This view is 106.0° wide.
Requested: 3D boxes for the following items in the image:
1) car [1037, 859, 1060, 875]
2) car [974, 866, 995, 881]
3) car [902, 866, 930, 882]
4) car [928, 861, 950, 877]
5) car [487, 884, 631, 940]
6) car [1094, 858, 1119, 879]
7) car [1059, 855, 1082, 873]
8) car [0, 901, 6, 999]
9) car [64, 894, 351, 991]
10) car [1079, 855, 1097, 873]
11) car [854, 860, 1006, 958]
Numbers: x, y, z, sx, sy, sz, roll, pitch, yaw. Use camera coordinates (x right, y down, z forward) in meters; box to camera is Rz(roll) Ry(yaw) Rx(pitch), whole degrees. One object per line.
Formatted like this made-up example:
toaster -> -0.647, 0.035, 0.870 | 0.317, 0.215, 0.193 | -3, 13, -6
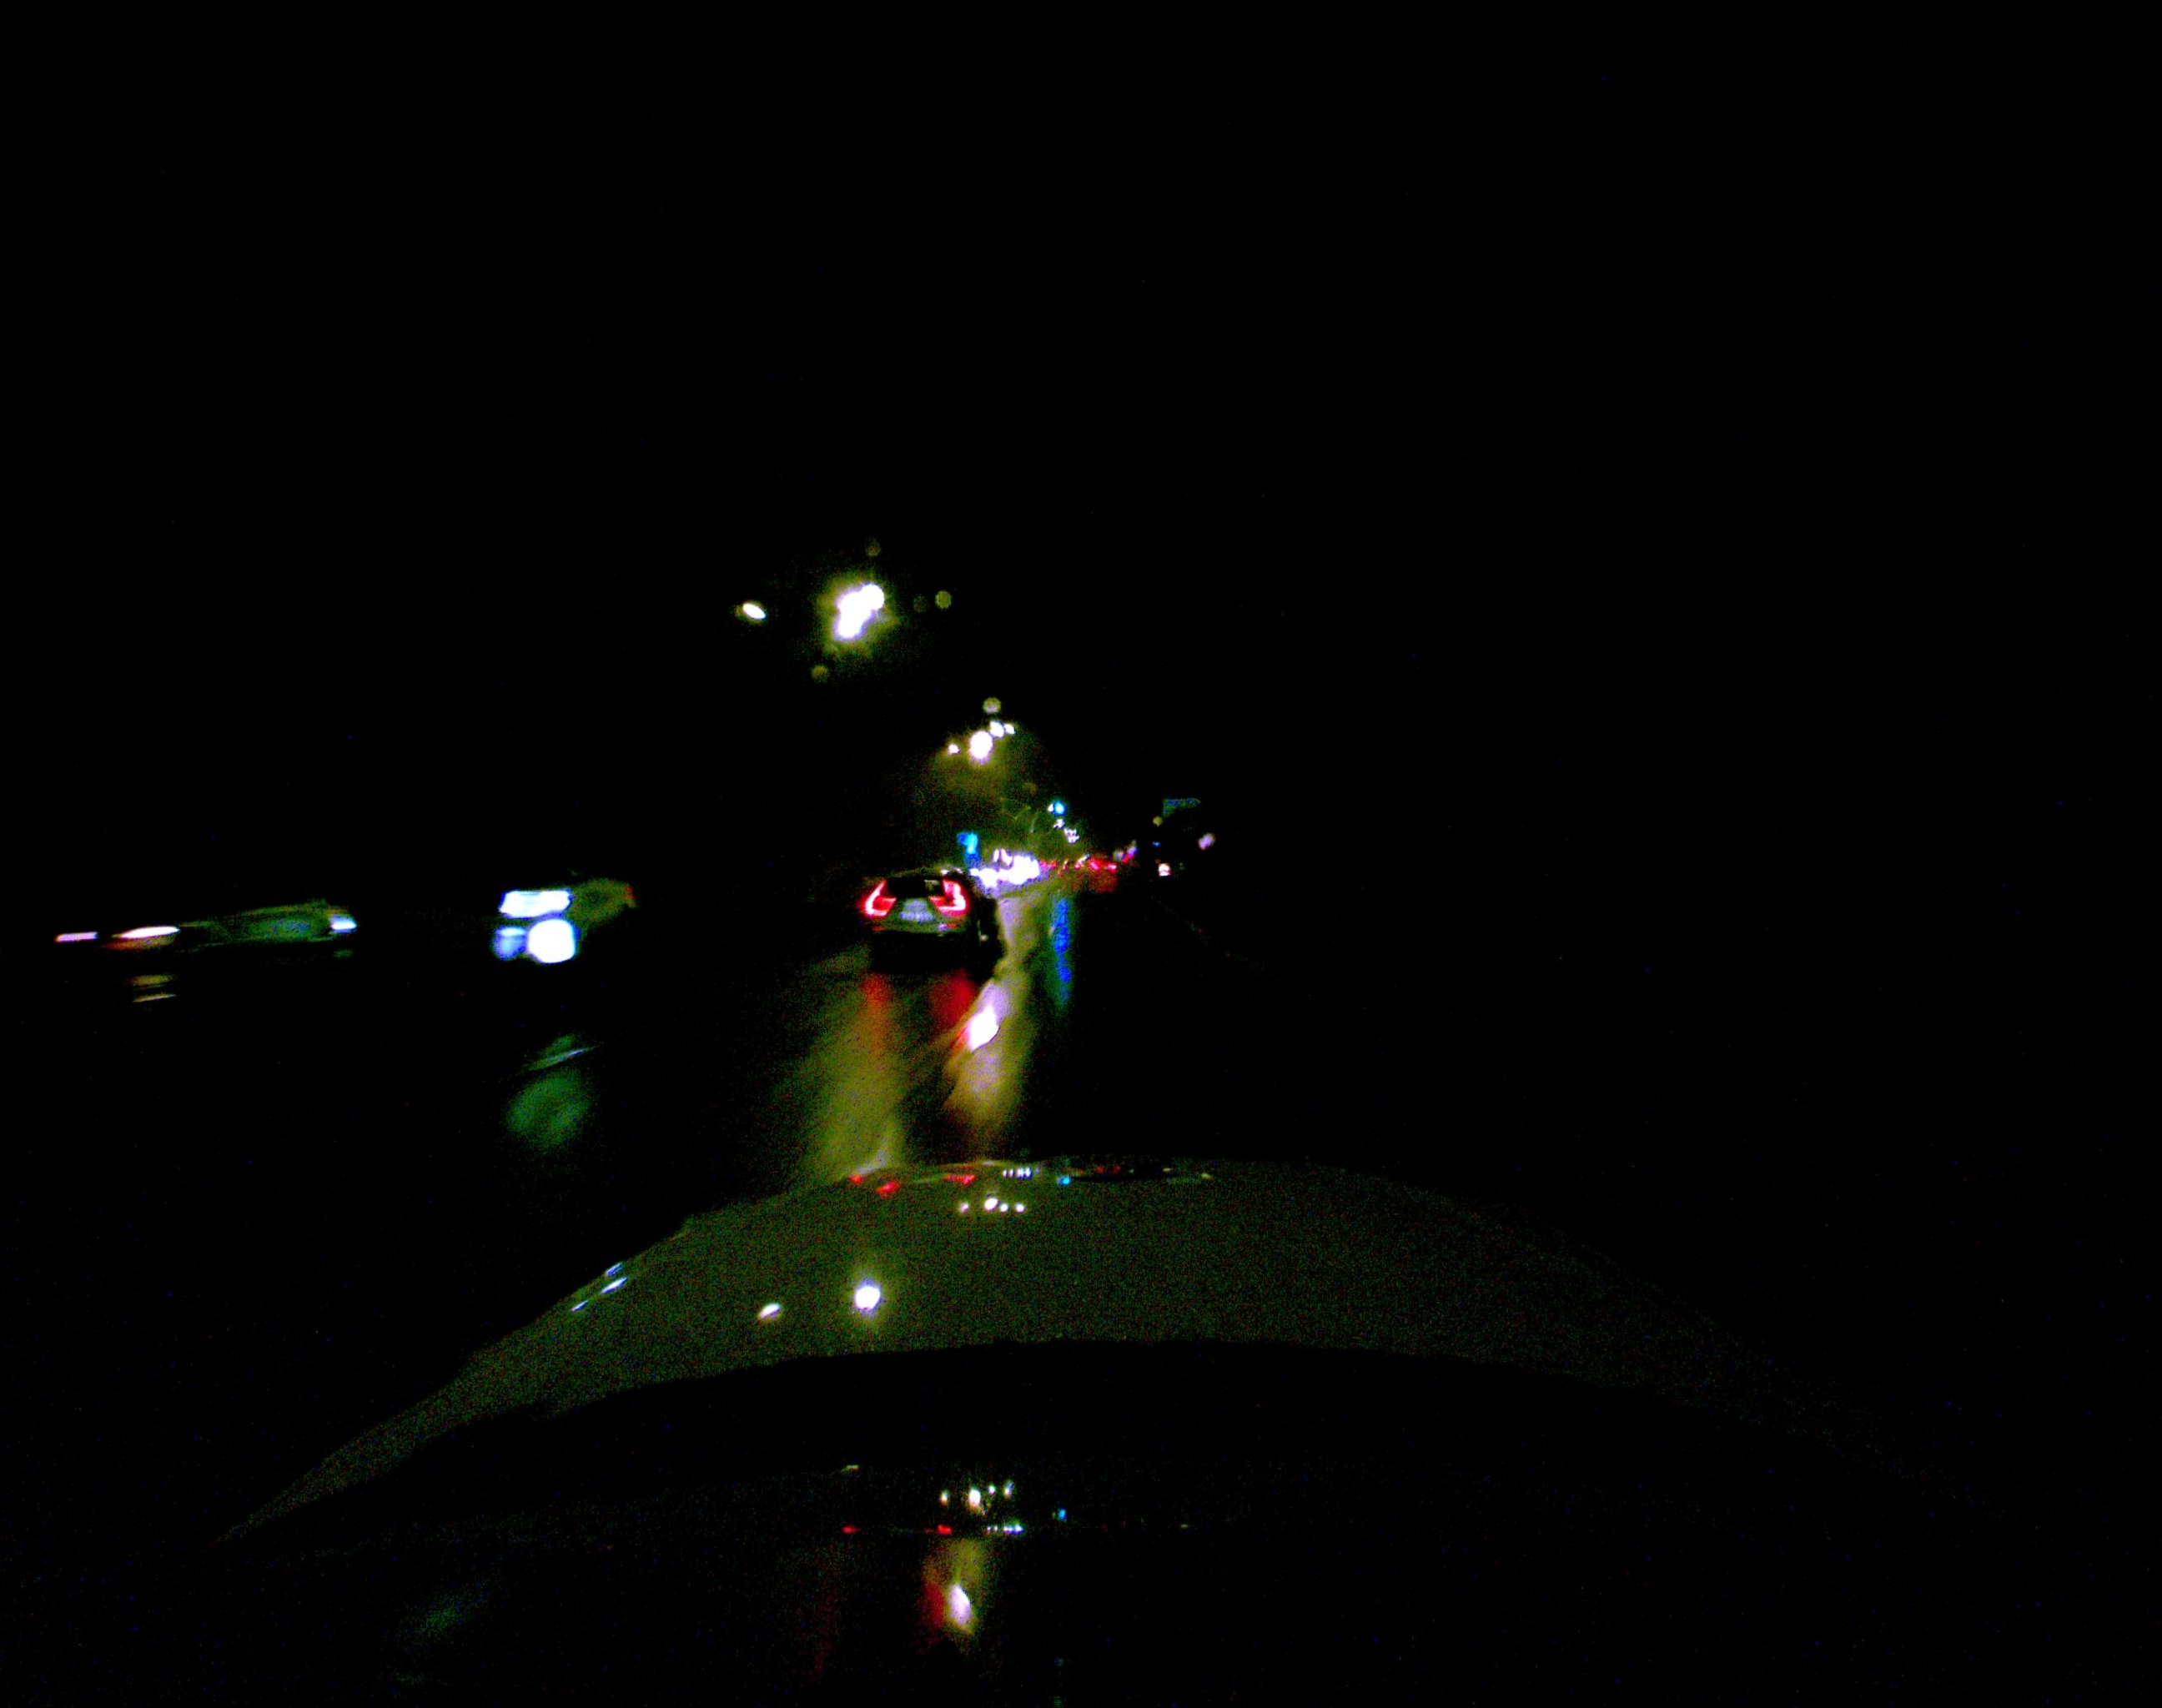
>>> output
car -> -3.871, 1.599, 97.206 | 2.167, 1.602, 4.004 | 3, -3, 5
car -> -9.862, 1.990, 83.130 | 1.583, 1.427, 3.352 | -1, 0, 3
car -> -13.830, 1.651, 68.472 | 1.638, 1.203, 3.614 | -1, -1, 0
car -> -17.007, 1.751, 97.903 | 1.756, 1.892, 4.206 | -1, -1, 1
car -> -17.312, 1.870, 27.313 | 1.877, 1.530, 4.432 | -1, 0, 1
car -> 2.302, 1.312, 72.993 | 1.901, 1.602, 4.004 | 3, -3, 5
car -> -1.128, 1.097, 86.579 | 2.169, 1.602, 4.001 | 3, -3, 2
car -> -18.016, 1.497, 10.644 | 1.845, 1.539, 4.533 | -4, -2, 1
car -> -17.982, 1.730, 17.109 | 1.488, 1.602, 4.147 | -1, 0, 1
car -> 0.822, 1.210, 99.159 | 1.986, 1.839, 4.000 | 4, -4, 2
car -> -2.550, 0.877, 14.807 | 1.789, 1.452, 4.271 | -1, 0, 2
